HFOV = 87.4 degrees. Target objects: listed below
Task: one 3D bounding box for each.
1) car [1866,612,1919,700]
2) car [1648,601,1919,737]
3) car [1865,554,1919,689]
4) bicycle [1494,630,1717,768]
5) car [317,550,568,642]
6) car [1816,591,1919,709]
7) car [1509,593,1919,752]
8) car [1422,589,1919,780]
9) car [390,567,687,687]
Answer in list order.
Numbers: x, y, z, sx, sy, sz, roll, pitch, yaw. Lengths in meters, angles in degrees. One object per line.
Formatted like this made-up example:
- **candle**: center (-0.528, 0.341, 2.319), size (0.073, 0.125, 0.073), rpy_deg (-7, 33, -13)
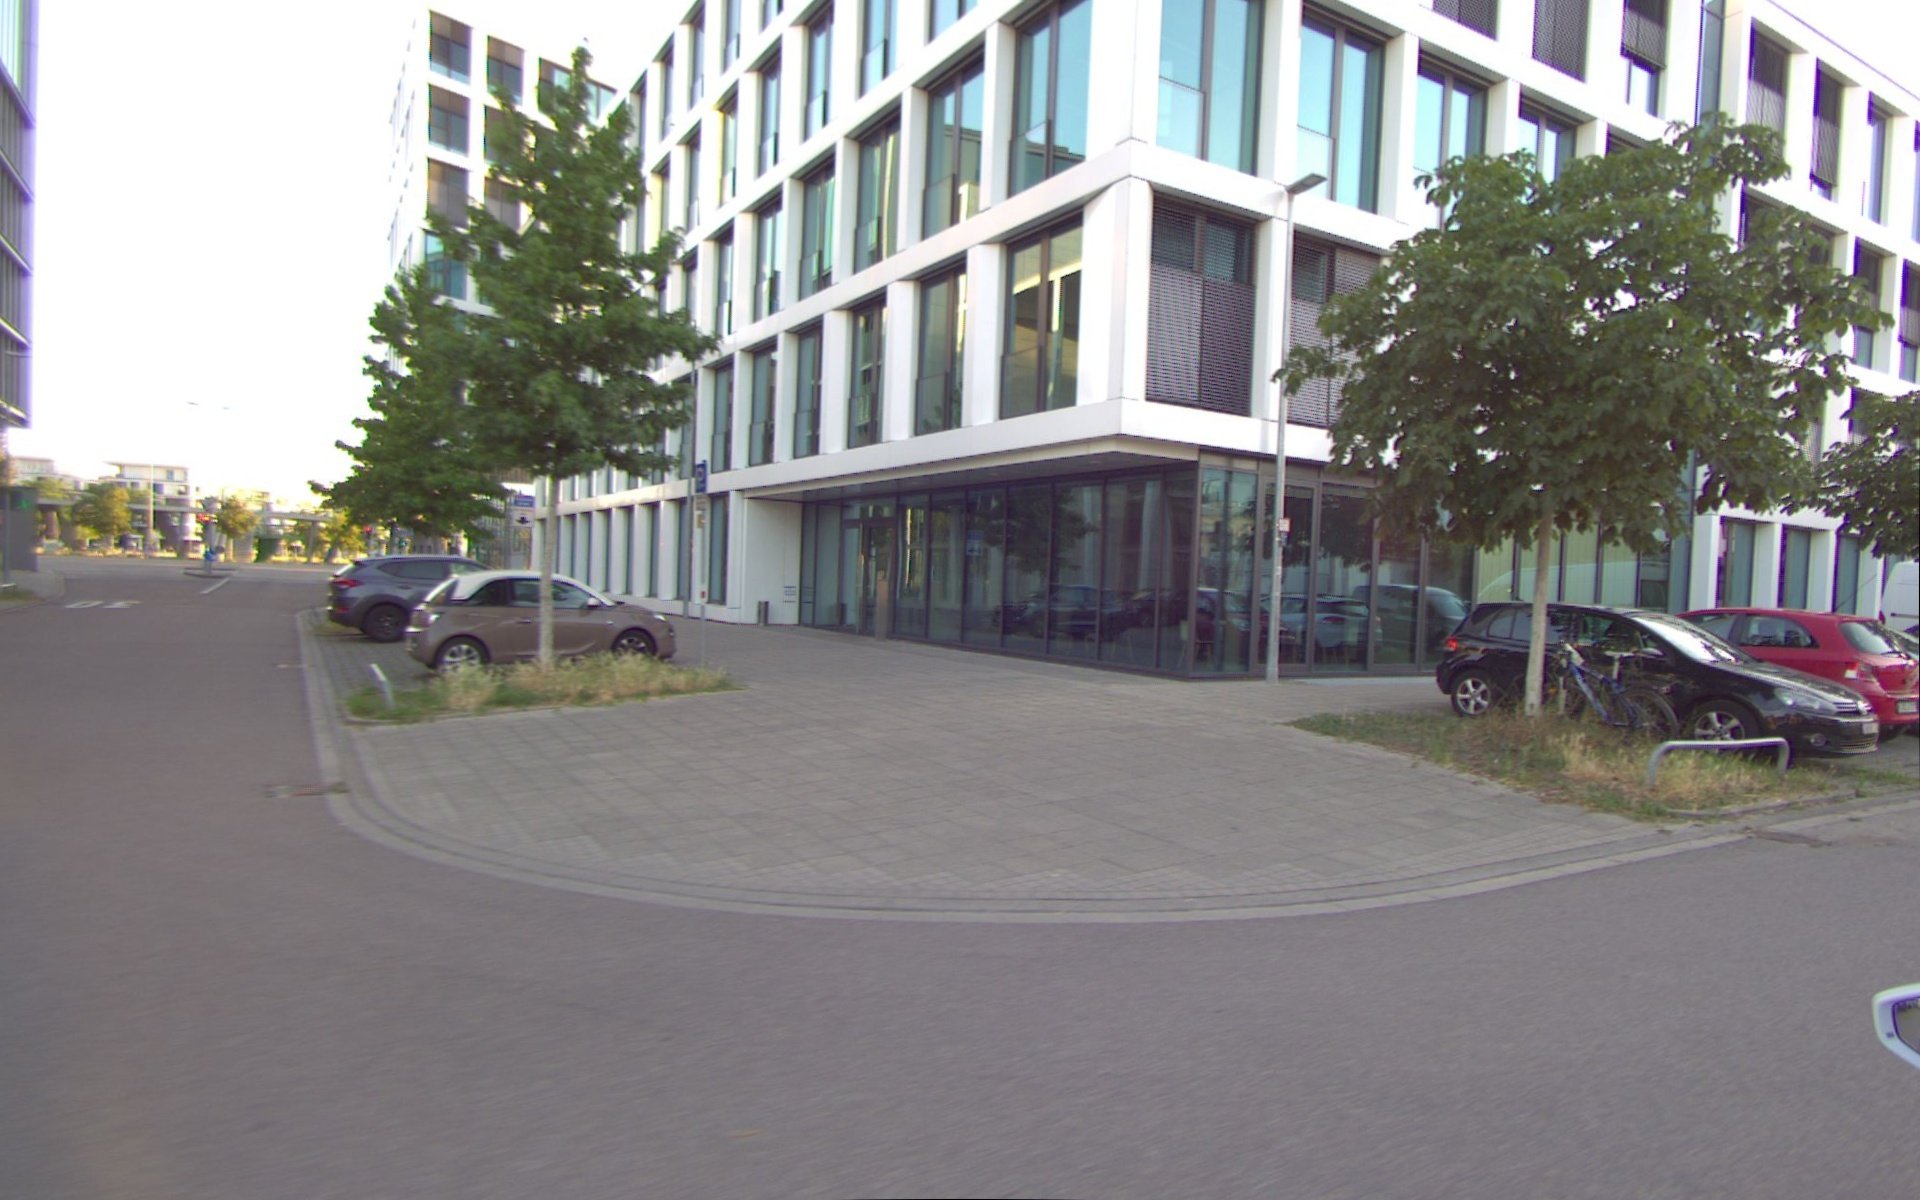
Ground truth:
- **car**: center (18.591, 1.101, 17.306), size (1.756, 1.520, 4.083), rpy_deg (1, 2, -33)
- **car**: center (12.185, 0.898, 13.816), size (1.759, 1.539, 4.088), rpy_deg (1, 2, -30)
- **car**: center (20.865, 0.550, 18.800), size (2.052, 2.668, 5.358), rpy_deg (1, 2, -28)
- **bicycle**: center (6.116, 0.892, 9.619), size (0.559, 1.080, 1.688), rpy_deg (1, 2, -29)
- **car**: center (-10.450, -0.054, 20.413), size (4.329, 1.674, 1.713), rpy_deg (2, 2, -35)
- **car**: center (16.582, 0.885, 15.995), size (1.797, 1.841, 4.083), rpy_deg (1, 2, -33)
- **car**: center (9.680, 0.788, 13.034), size (1.823, 1.539, 4.088), rpy_deg (1, 2, -30)
- **car**: center (7.592, 0.752, 11.185), size (1.824, 1.539, 4.086), rpy_deg (1, 2, -31)
- **car**: center (-6.084, 0.365, 14.625), size (3.687, 1.516, 1.713), rpy_deg (2, 2, -35)
